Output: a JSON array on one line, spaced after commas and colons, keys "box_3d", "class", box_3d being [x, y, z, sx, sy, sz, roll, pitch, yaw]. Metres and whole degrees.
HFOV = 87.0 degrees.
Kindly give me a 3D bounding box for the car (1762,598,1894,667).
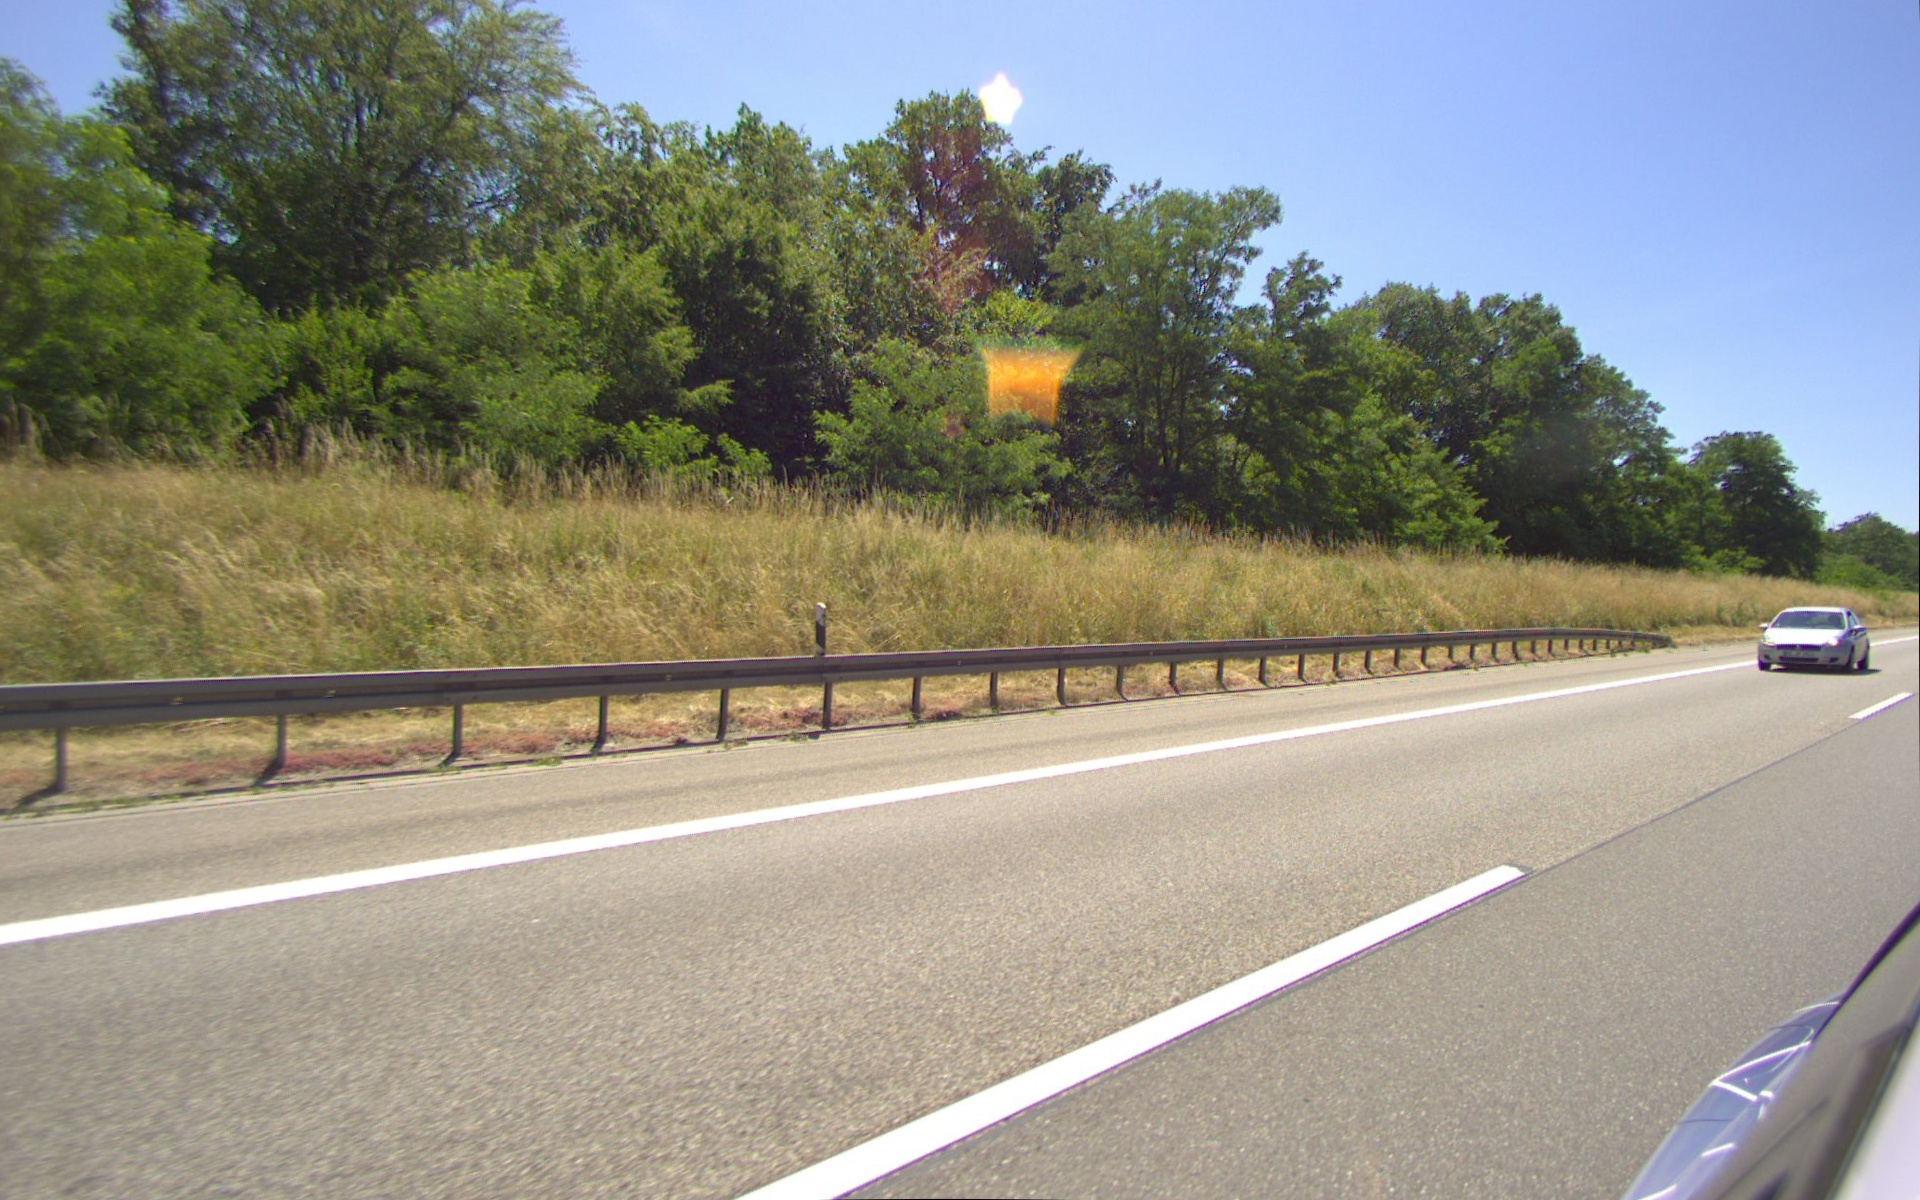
[{"box_3d": [20.289, 0.698, 23.611, 3.910, 1.484, 1.748, 0, 0, -41], "class": "car"}]
